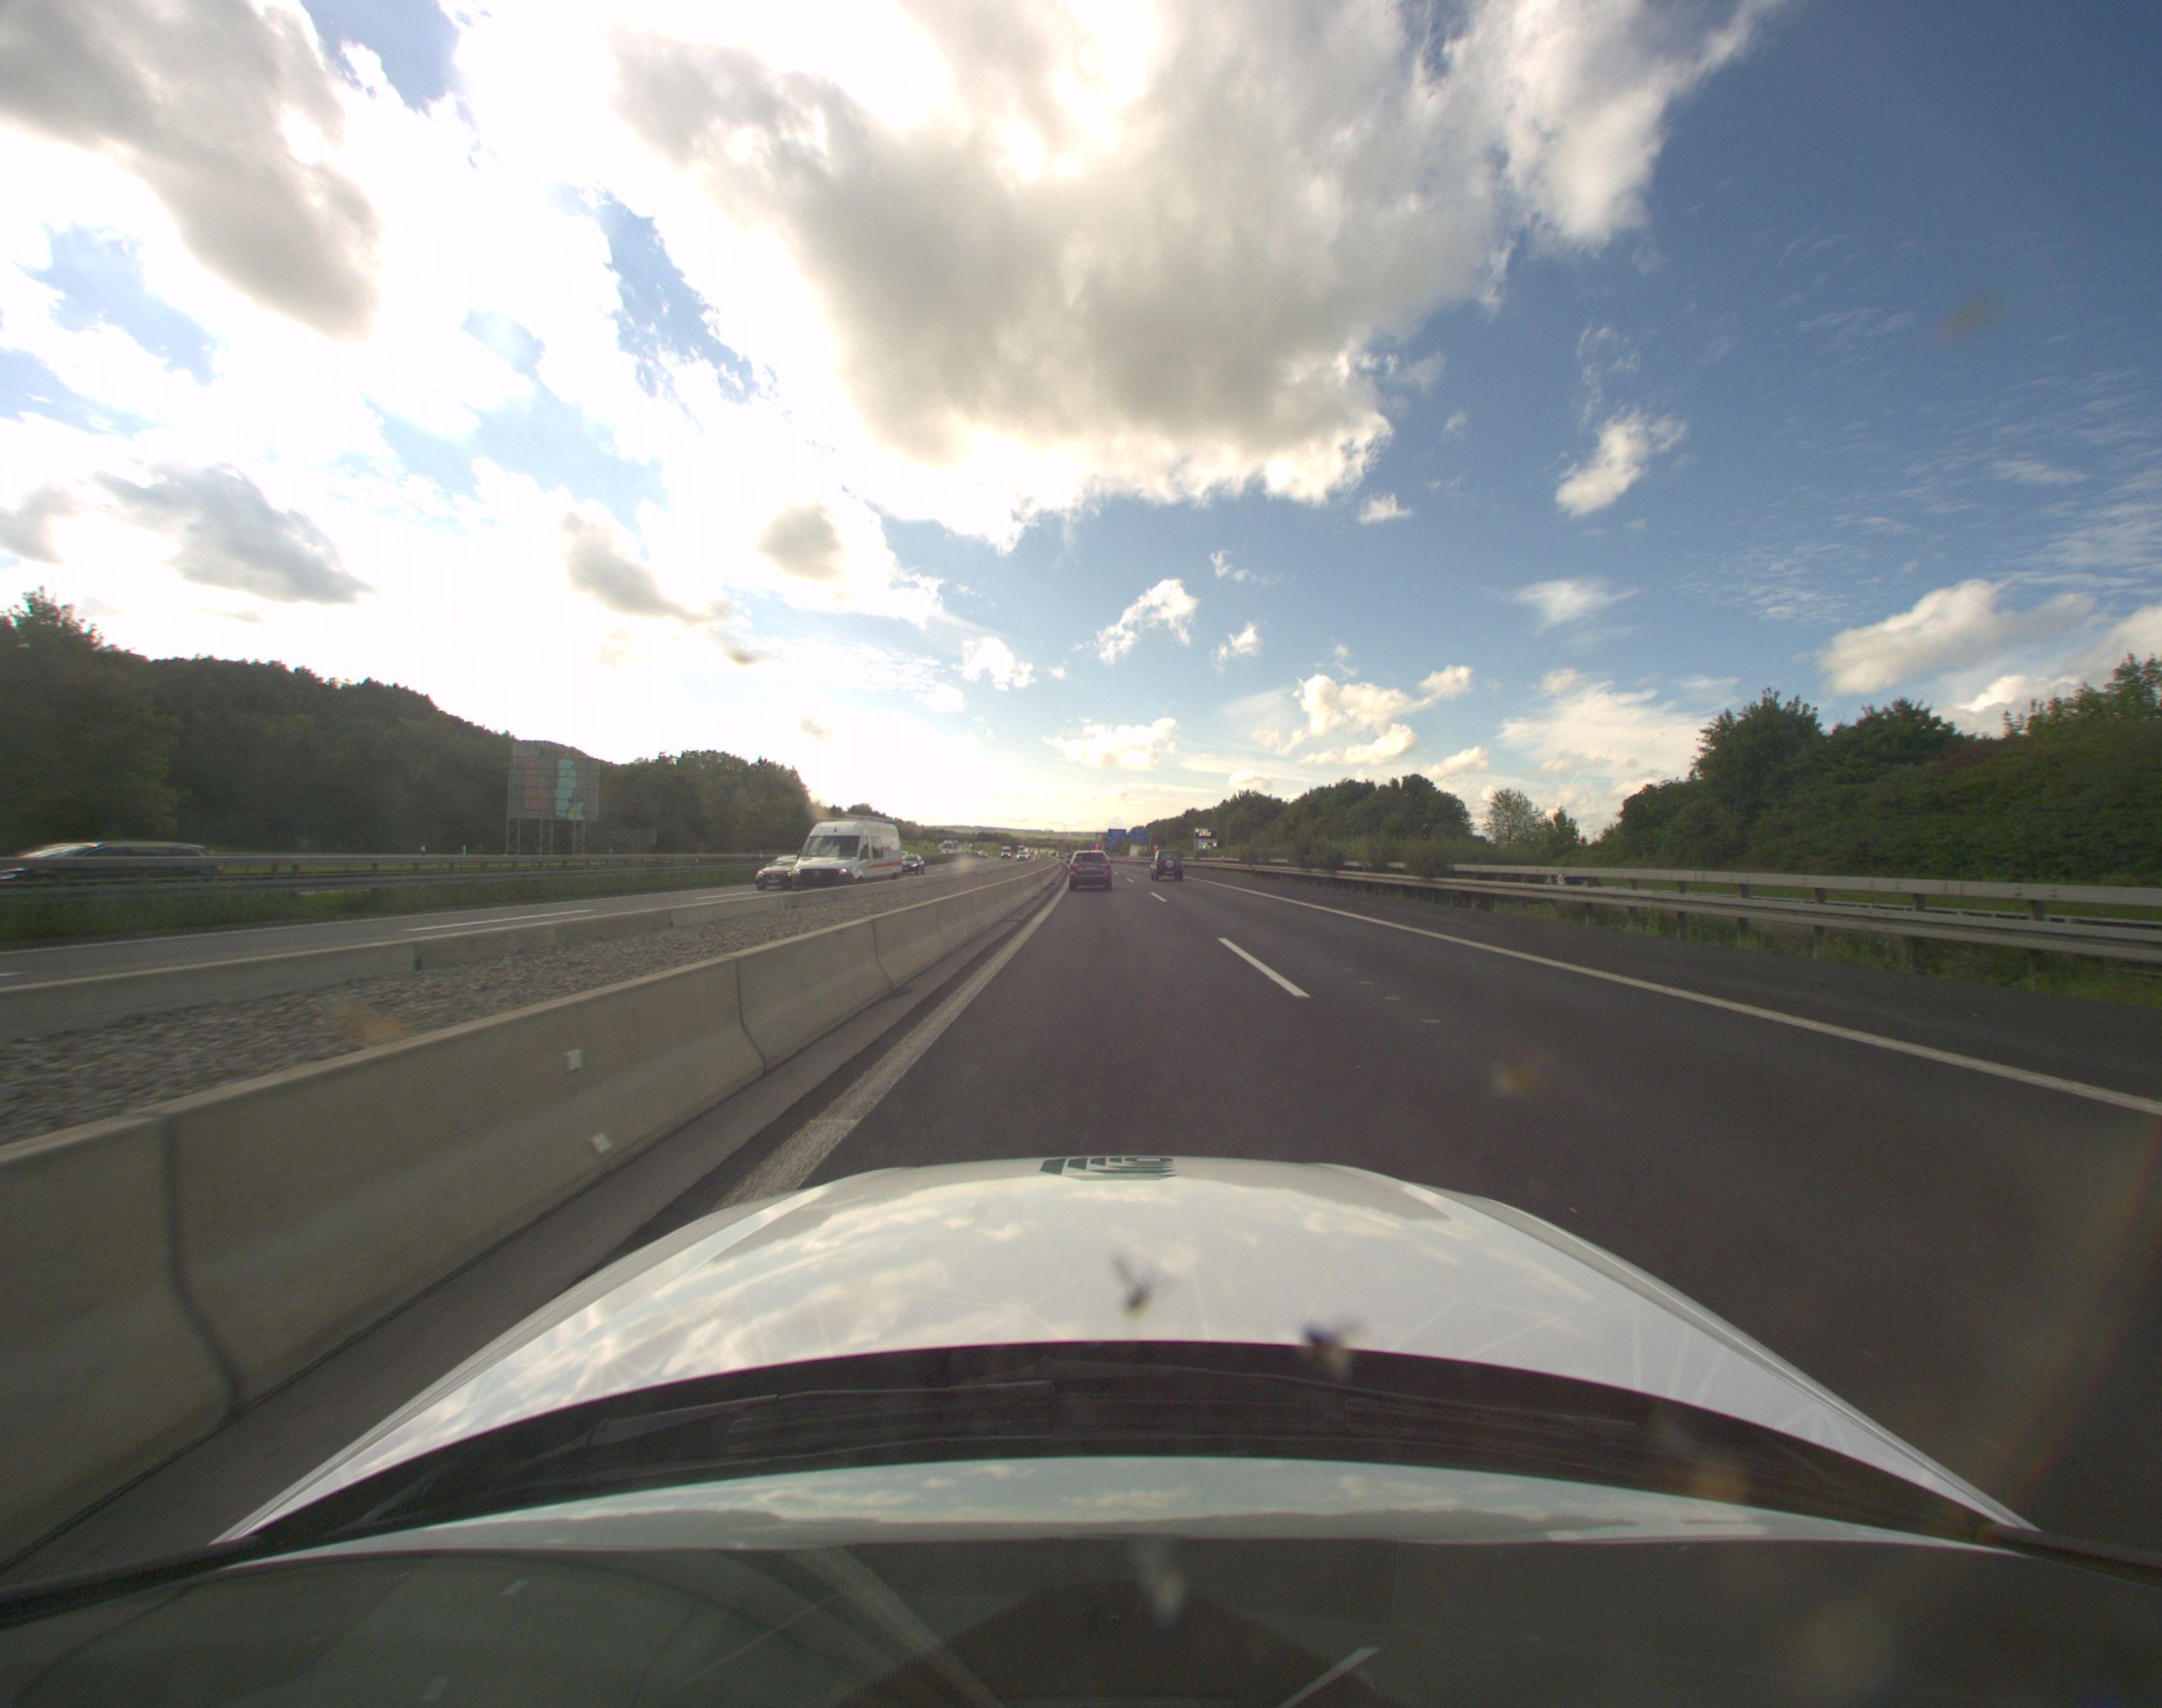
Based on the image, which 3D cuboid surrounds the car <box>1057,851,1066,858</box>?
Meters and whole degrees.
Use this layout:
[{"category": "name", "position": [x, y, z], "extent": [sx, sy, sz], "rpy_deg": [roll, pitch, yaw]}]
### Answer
[{"category": "car", "position": [-5.071, 0.075, 212.366], "extent": [1.990, 1.684, 3.993], "rpy_deg": [0, -2, -5]}]

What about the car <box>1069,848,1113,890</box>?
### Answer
[{"category": "car", "position": [0.411, 0.669, 36.606], "extent": [1.812, 1.736, 5.185], "rpy_deg": [0, -1, 0]}]

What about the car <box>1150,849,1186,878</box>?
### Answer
[{"category": "car", "position": [4.941, 0.543, 46.864], "extent": [1.582, 1.597, 4.094], "rpy_deg": [0, 0, -1]}]

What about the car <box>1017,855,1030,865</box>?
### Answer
[{"category": "car", "position": [-9.567, 1.022, 135.333], "extent": [1.837, 1.611, 5.134], "rpy_deg": [0, 0, 0]}]

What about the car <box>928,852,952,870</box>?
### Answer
[{"category": "car", "position": [-13.780, 0.637, 79.538], "extent": [1.721, 1.699, 4.150], "rpy_deg": [0, 0, -2]}]

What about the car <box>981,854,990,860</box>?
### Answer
[{"category": "car", "position": [-20.939, 0.754, 179.107], "extent": [1.622, 1.293, 4.752], "rpy_deg": [0, 0, -1]}]

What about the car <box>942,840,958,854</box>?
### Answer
[{"category": "car", "position": [-38.388, -1.949, 239.346], "extent": [3.811, 4.080, 14.801], "rpy_deg": [0, 0, -5]}]

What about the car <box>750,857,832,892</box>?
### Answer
[{"category": "car", "position": [-13.117, 0.894, 37.234], "extent": [1.878, 1.421, 5.235], "rpy_deg": [-1, 0, 0]}]

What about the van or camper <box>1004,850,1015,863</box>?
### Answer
[{"category": "van or camper", "position": [-15.264, 0.553, 173.762], "extent": [1.981, 2.624, 6.859], "rpy_deg": [0, 0, -1]}]

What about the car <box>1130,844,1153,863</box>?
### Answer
[{"category": "car", "position": [15.153, -0.066, 204.893], "extent": [4.715, 4.266, 11.395], "rpy_deg": [0, -2, -1]}]

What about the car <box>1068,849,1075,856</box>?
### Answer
[{"category": "car", "position": [-2.906, -0.405, 247.246], "extent": [1.991, 1.929, 3.991], "rpy_deg": [0, -2, -6]}]

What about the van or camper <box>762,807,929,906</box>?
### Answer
[{"category": "van or camper", "position": [-7.737, 0.072, 28.070], "extent": [3.323, 2.916, 7.469], "rpy_deg": [1, 0, 2]}]

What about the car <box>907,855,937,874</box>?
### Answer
[{"category": "car", "position": [-12.301, 0.790, 63.411], "extent": [1.782, 1.417, 4.987], "rpy_deg": [0, 0, -5]}]
